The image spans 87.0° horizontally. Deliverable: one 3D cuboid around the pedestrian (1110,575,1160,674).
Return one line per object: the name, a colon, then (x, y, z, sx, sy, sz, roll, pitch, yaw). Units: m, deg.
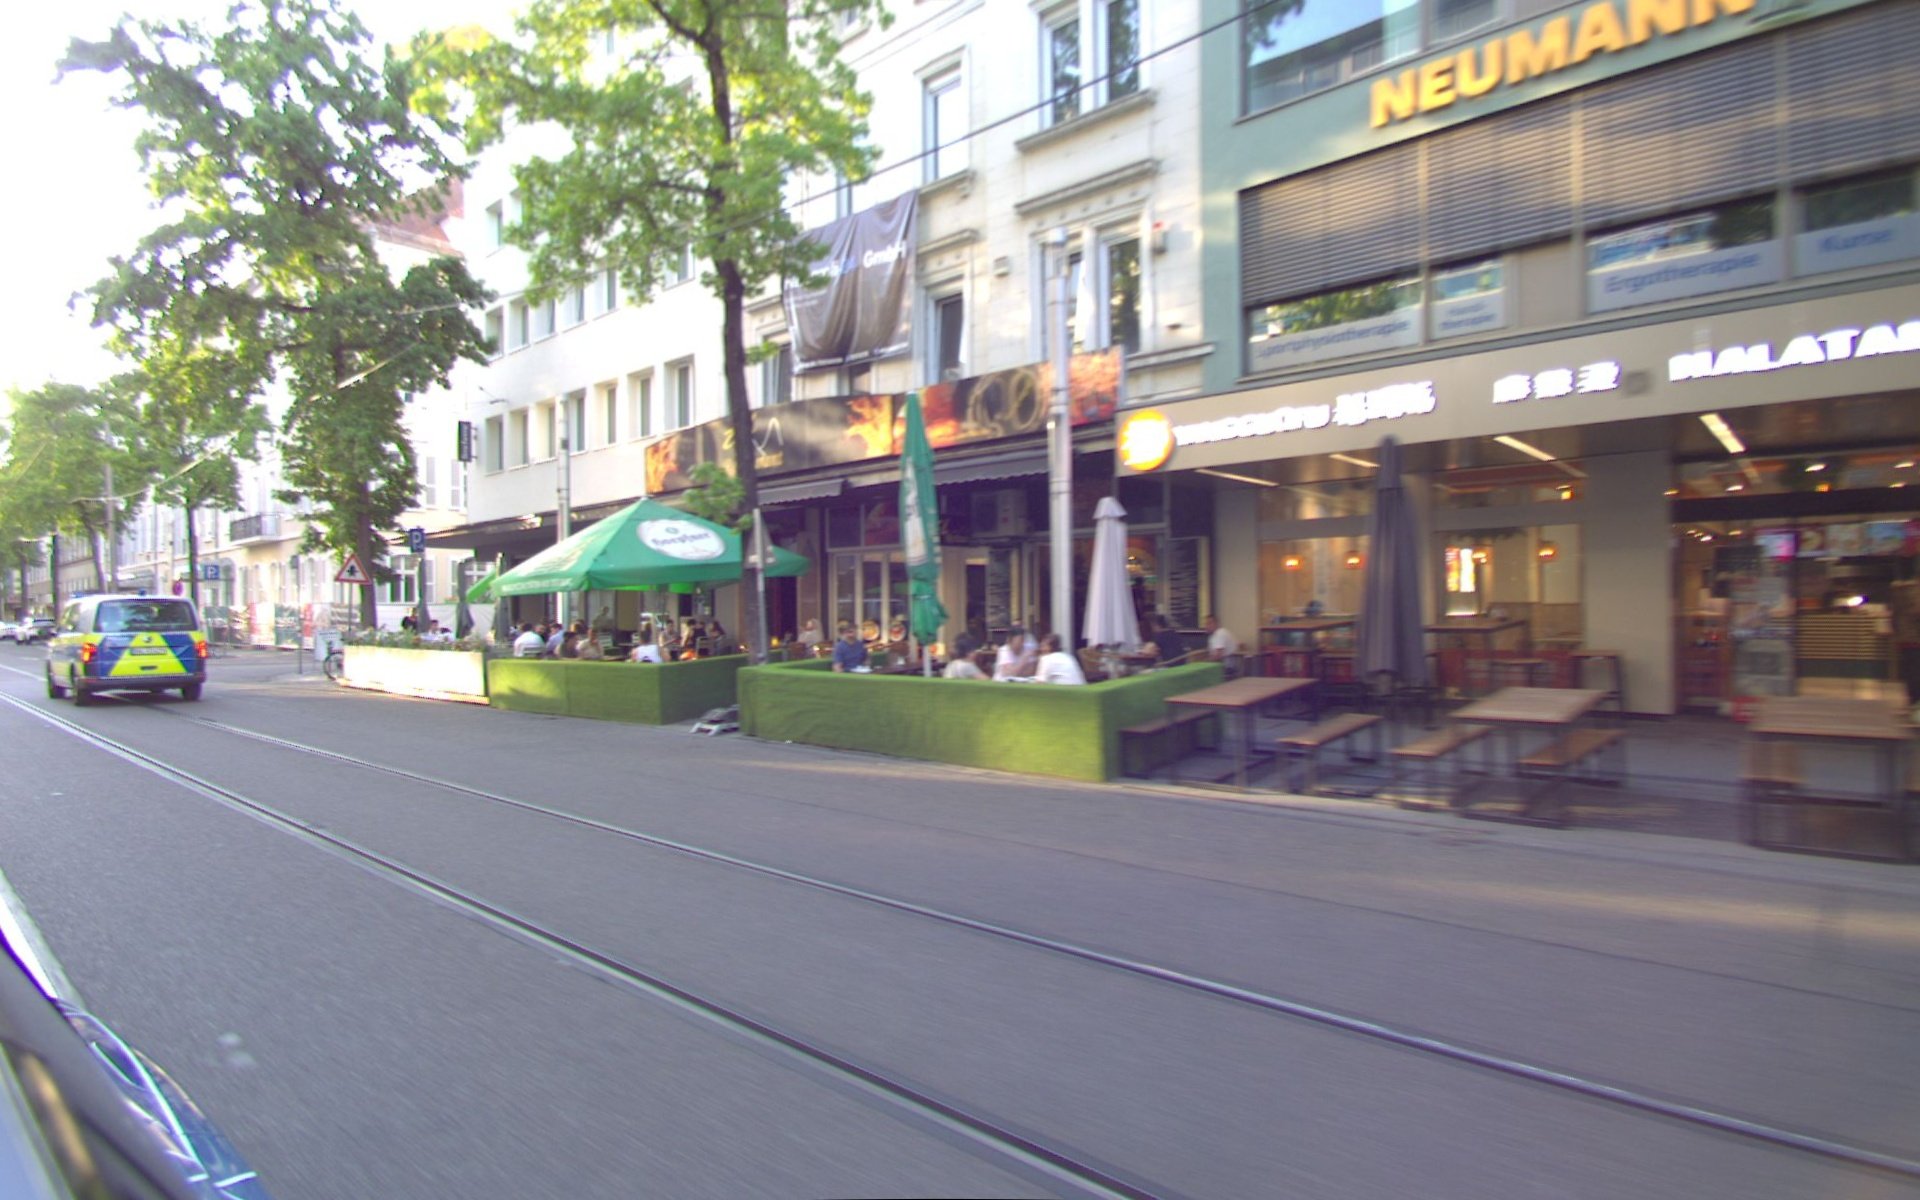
pedestrian: (3.227, 0.444, 18.640, 0.761, 1.779, 0.651, -1, 0, 24)

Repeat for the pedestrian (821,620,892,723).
pedestrian: (-1.353, 0.913, 13.263, 0.600, 1.274, 0.701, 0, 0, 42)

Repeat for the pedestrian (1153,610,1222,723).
pedestrian: (2.907, 0.827, 12.932, 0.648, 1.388, 0.598, 0, 0, 42)

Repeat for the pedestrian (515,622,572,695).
pedestrian: (-8.176, 1.129, 19.858, 0.925, 1.372, 0.708, -1, 0, 44)

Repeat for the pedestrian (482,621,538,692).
pedestrian: (-9.172, 1.135, 20.619, 1.012, 1.372, 0.708, -1, 0, 44)

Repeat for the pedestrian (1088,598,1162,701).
pedestrian: (2.310, 0.672, 14.166, 0.765, 1.388, 0.683, 0, 0, 42)

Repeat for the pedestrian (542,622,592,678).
pedestrian: (-9.789, 1.232, 25.235, 0.875, 1.330, 0.882, -1, 0, -45)

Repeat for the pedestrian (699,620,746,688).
pedestrian: (-5.056, 1.122, 21.502, 0.765, 1.388, 0.647, 0, 0, 42)

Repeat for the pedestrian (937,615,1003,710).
pedestrian: (0.148, 0.924, 15.383, 0.765, 1.388, 0.647, 0, 0, 42)

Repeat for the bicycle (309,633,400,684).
bicycle: (-15.006, 1.421, 25.111, 0.626, 1.147, 1.842, 0, 0, 39)

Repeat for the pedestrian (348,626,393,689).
pedestrian: (-13.506, 1.300, 23.190, 0.793, 1.387, 0.685, -1, 0, 44)

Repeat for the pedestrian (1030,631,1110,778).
pedestrian: (1.105, 1.021, 10.160, 0.564, 1.388, 0.573, 0, 0, 42)

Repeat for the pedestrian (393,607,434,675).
pedestrian: (-14.247, 1.057, 26.399, 0.632, 1.754, 0.781, -1, 0, 0)

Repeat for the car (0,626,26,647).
car: (-72.433, 2.760, 76.731, 4.104, 1.514, 1.972, -1, -1, 42)

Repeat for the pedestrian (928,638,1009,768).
pedestrian: (0.085, 1.049, 10.564, 0.641, 1.276, 0.545, 0, 0, 43)

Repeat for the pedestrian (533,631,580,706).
pedestrian: (-7.059, 1.182, 17.699, 0.544, 1.245, 0.579, -1, 0, 44)

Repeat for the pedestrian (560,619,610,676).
pedestrian: (-9.083, 1.134, 24.522, 0.838, 1.330, 0.882, -1, 0, -44)

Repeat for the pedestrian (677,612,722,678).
pedestrian: (-5.688, 0.962, 22.084, 0.765, 1.388, 0.647, 0, 0, 42)

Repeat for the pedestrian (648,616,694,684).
pedestrian: (-6.169, 1.049, 21.607, 0.765, 1.388, 0.647, 0, 0, 42)

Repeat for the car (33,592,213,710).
car: (-16.122, 0.902, 19.400, 4.848, 1.991, 1.972, -1, -1, 42)

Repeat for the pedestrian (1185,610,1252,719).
pedestrian: (3.418, 0.831, 13.385, 0.679, 1.388, 0.531, 0, 0, 42)

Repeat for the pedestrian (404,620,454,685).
pedestrian: (-11.776, 1.152, 22.442, 0.925, 1.372, 0.708, -1, 0, 44)

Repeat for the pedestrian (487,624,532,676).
pedestrian: (-12.046, 1.318, 27.077, 0.838, 1.330, 0.882, -1, 0, -44)

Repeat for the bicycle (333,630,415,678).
bicycle: (-15.167, 1.381, 26.262, 0.773, 1.147, 1.858, -1, 0, 14)

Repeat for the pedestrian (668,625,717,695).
pedestrian: (-5.558, 1.220, 21.024, 0.765, 1.388, 0.647, 0, 0, 42)

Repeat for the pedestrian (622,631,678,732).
pedestrian: (-4.482, 1.162, 14.630, 0.564, 1.388, 0.541, 0, 0, 42)

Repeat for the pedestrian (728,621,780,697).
pedestrian: (-3.937, 1.116, 19.352, 0.765, 1.388, 0.647, 0, 0, 42)

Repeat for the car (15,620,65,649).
car: (-58.616, 2.181, 64.451, 4.104, 1.751, 1.972, -1, -1, 42)

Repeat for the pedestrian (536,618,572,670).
pedestrian: (-10.806, 1.158, 26.932, 0.615, 1.330, 0.842, -1, 0, -45)

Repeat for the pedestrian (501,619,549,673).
pedestrian: (-11.345, 1.180, 26.375, 0.875, 1.330, 0.882, -1, 0, -45)

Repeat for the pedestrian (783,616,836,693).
pedestrian: (-2.826, 1.008, 18.982, 0.765, 1.388, 0.647, 0, 0, 42)

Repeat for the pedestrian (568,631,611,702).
pedestrian: (-6.641, 1.174, 18.140, 0.511, 1.228, 0.537, -1, 0, 44)

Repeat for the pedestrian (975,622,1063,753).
pedestrian: (0.649, 0.938, 11.208, 0.731, 1.356, 0.637, 0, 0, 43)

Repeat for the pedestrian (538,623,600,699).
pedestrian: (-7.399, 1.124, 19.143, 1.012, 1.372, 0.708, -1, 0, 44)

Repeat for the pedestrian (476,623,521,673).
pedestrian: (-12.687, 1.302, 27.810, 0.875, 1.330, 0.882, -1, 0, -45)

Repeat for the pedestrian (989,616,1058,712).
pedestrian: (0.923, 0.913, 14.778, 0.765, 1.340, 0.647, 0, 0, 42)

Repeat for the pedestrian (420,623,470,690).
pedestrian: (-11.006, 1.193, 21.623, 0.872, 1.372, 0.708, -1, 0, 44)

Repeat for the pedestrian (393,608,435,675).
pedestrian: (-14.620, 1.091, 27.094, 0.635, 1.754, 0.779, -1, 0, 11)

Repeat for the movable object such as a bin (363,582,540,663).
movable object such as a bin: (-19.476, 0.842, 39.003, 2.641, 2.894, 5.491, 0, -1, 39)

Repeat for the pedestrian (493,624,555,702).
pedestrian: (-8.048, 1.133, 18.684, 1.012, 1.372, 0.708, -1, 0, 44)
